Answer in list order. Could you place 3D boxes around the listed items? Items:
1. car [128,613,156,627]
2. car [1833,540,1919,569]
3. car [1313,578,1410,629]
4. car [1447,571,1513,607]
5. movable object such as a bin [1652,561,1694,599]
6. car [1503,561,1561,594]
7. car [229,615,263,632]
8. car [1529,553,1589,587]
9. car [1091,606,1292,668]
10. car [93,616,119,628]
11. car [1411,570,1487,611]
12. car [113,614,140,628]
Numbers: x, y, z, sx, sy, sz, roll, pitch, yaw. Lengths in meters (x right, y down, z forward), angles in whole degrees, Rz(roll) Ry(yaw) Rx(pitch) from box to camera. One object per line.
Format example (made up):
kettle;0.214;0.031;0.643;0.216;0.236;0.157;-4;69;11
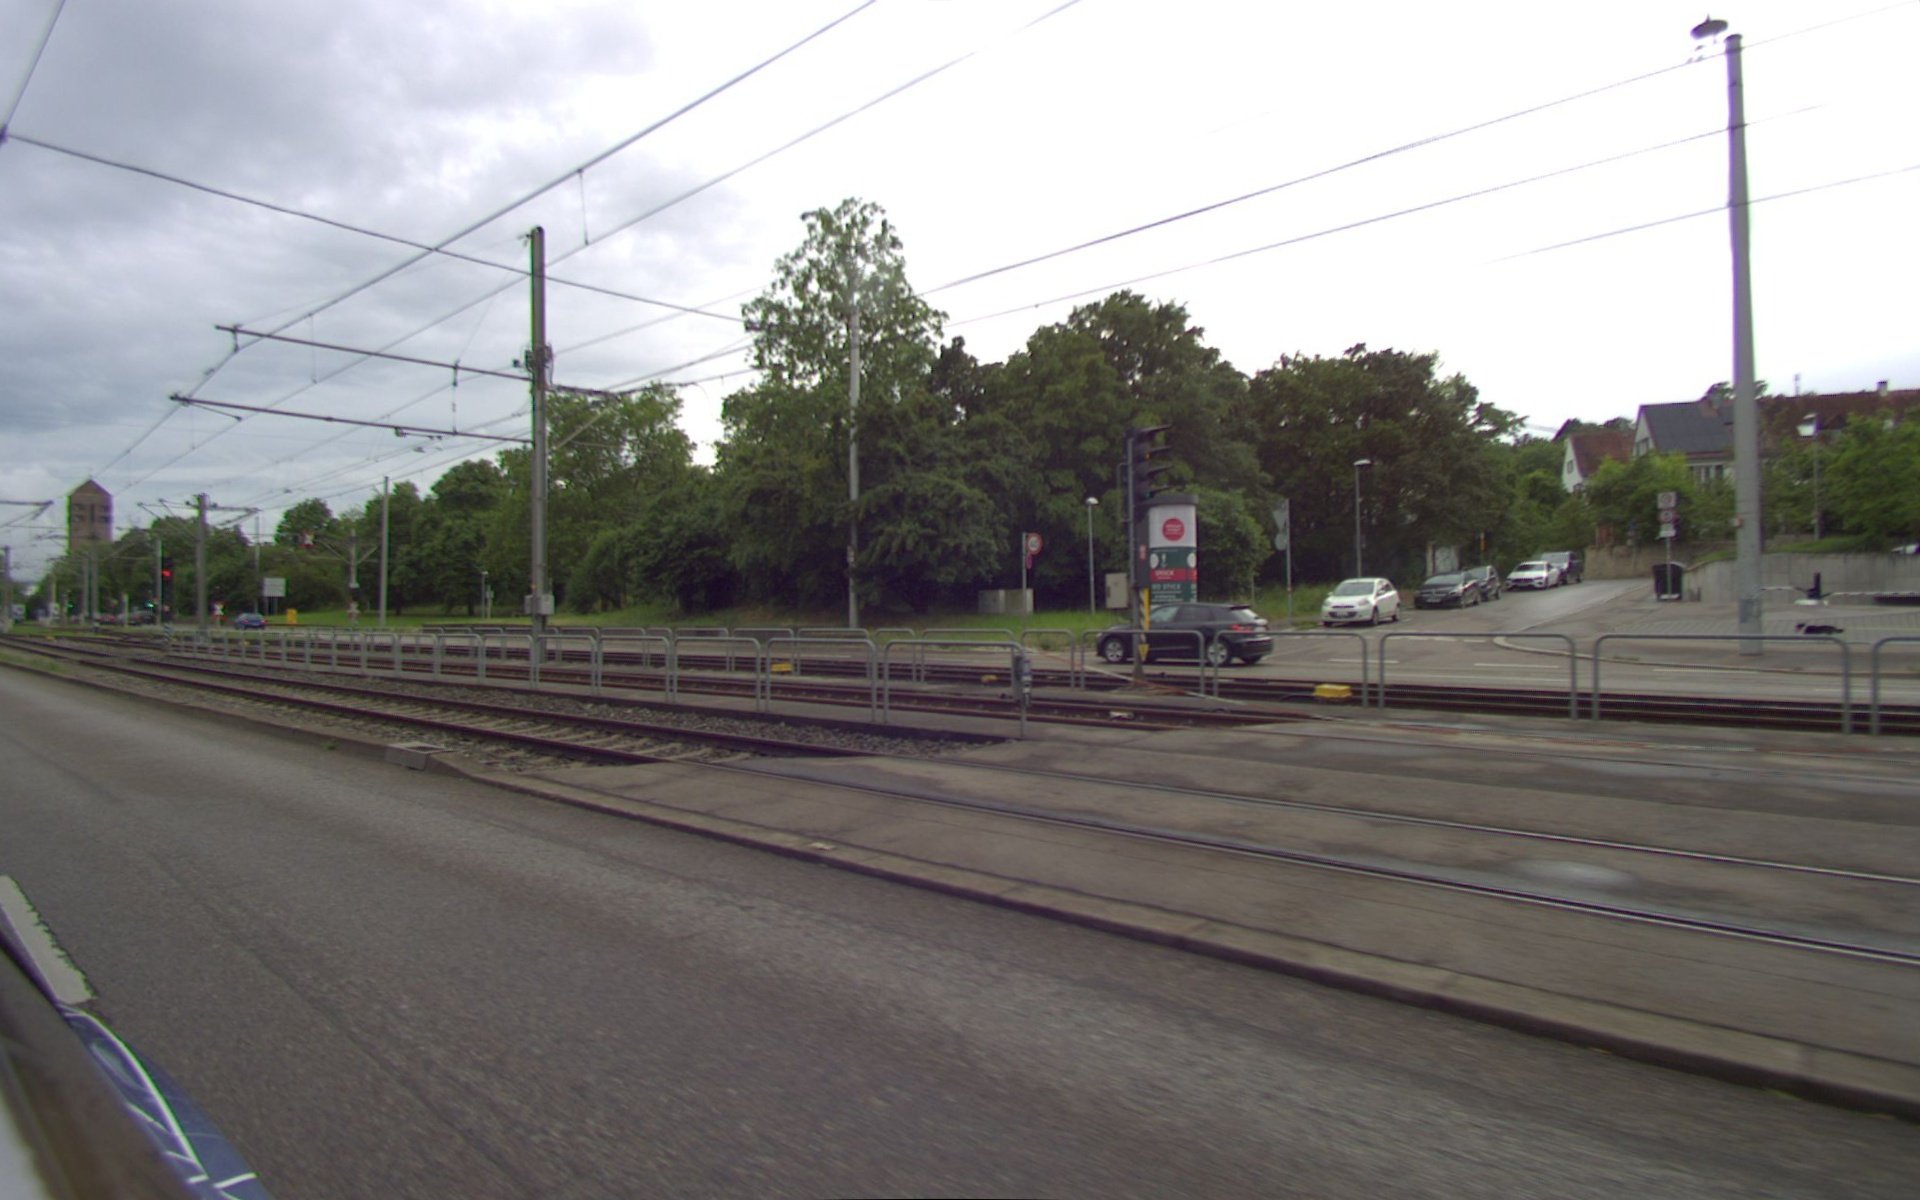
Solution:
car;-95.038;2.312;117.521;4.848;1.607;1.926;-2;-1;44
car;52.902;-2.611;58.043;3.831;1.503;1.892;-2;0;8
car;13.411;0.094;33.687;1.924;1.464;3.881;-2;2;39
car;23.468;-0.529;45.626;1.871;1.421;4.035;-2;2;39
movable object such as a bin;28.208;-0.793;40.056;1.269;1.406;1.257;-2;1;34
car;29.803;-1.195;52.691;1.944;1.485;4.215;-2;2;39
car;-62.061;2.072;88.000;3.901;1.408;1.741;-2;-1;44
car;33.684;-1.698;56.869;1.946;1.673;4.095;-1;2;44
car;5.033;0.784;22.285;3.986;1.253;1.738;-1;-1;42
car;-113.508;2.953;134.432;5.159;1.601;2.066;-2;-1;43
car;19.807;-0.396;40.921;1.871;1.464;4.035;-2;2;39
car;-90.570;2.280;109.957;4.309;1.497;1.870;-2;-1;44
